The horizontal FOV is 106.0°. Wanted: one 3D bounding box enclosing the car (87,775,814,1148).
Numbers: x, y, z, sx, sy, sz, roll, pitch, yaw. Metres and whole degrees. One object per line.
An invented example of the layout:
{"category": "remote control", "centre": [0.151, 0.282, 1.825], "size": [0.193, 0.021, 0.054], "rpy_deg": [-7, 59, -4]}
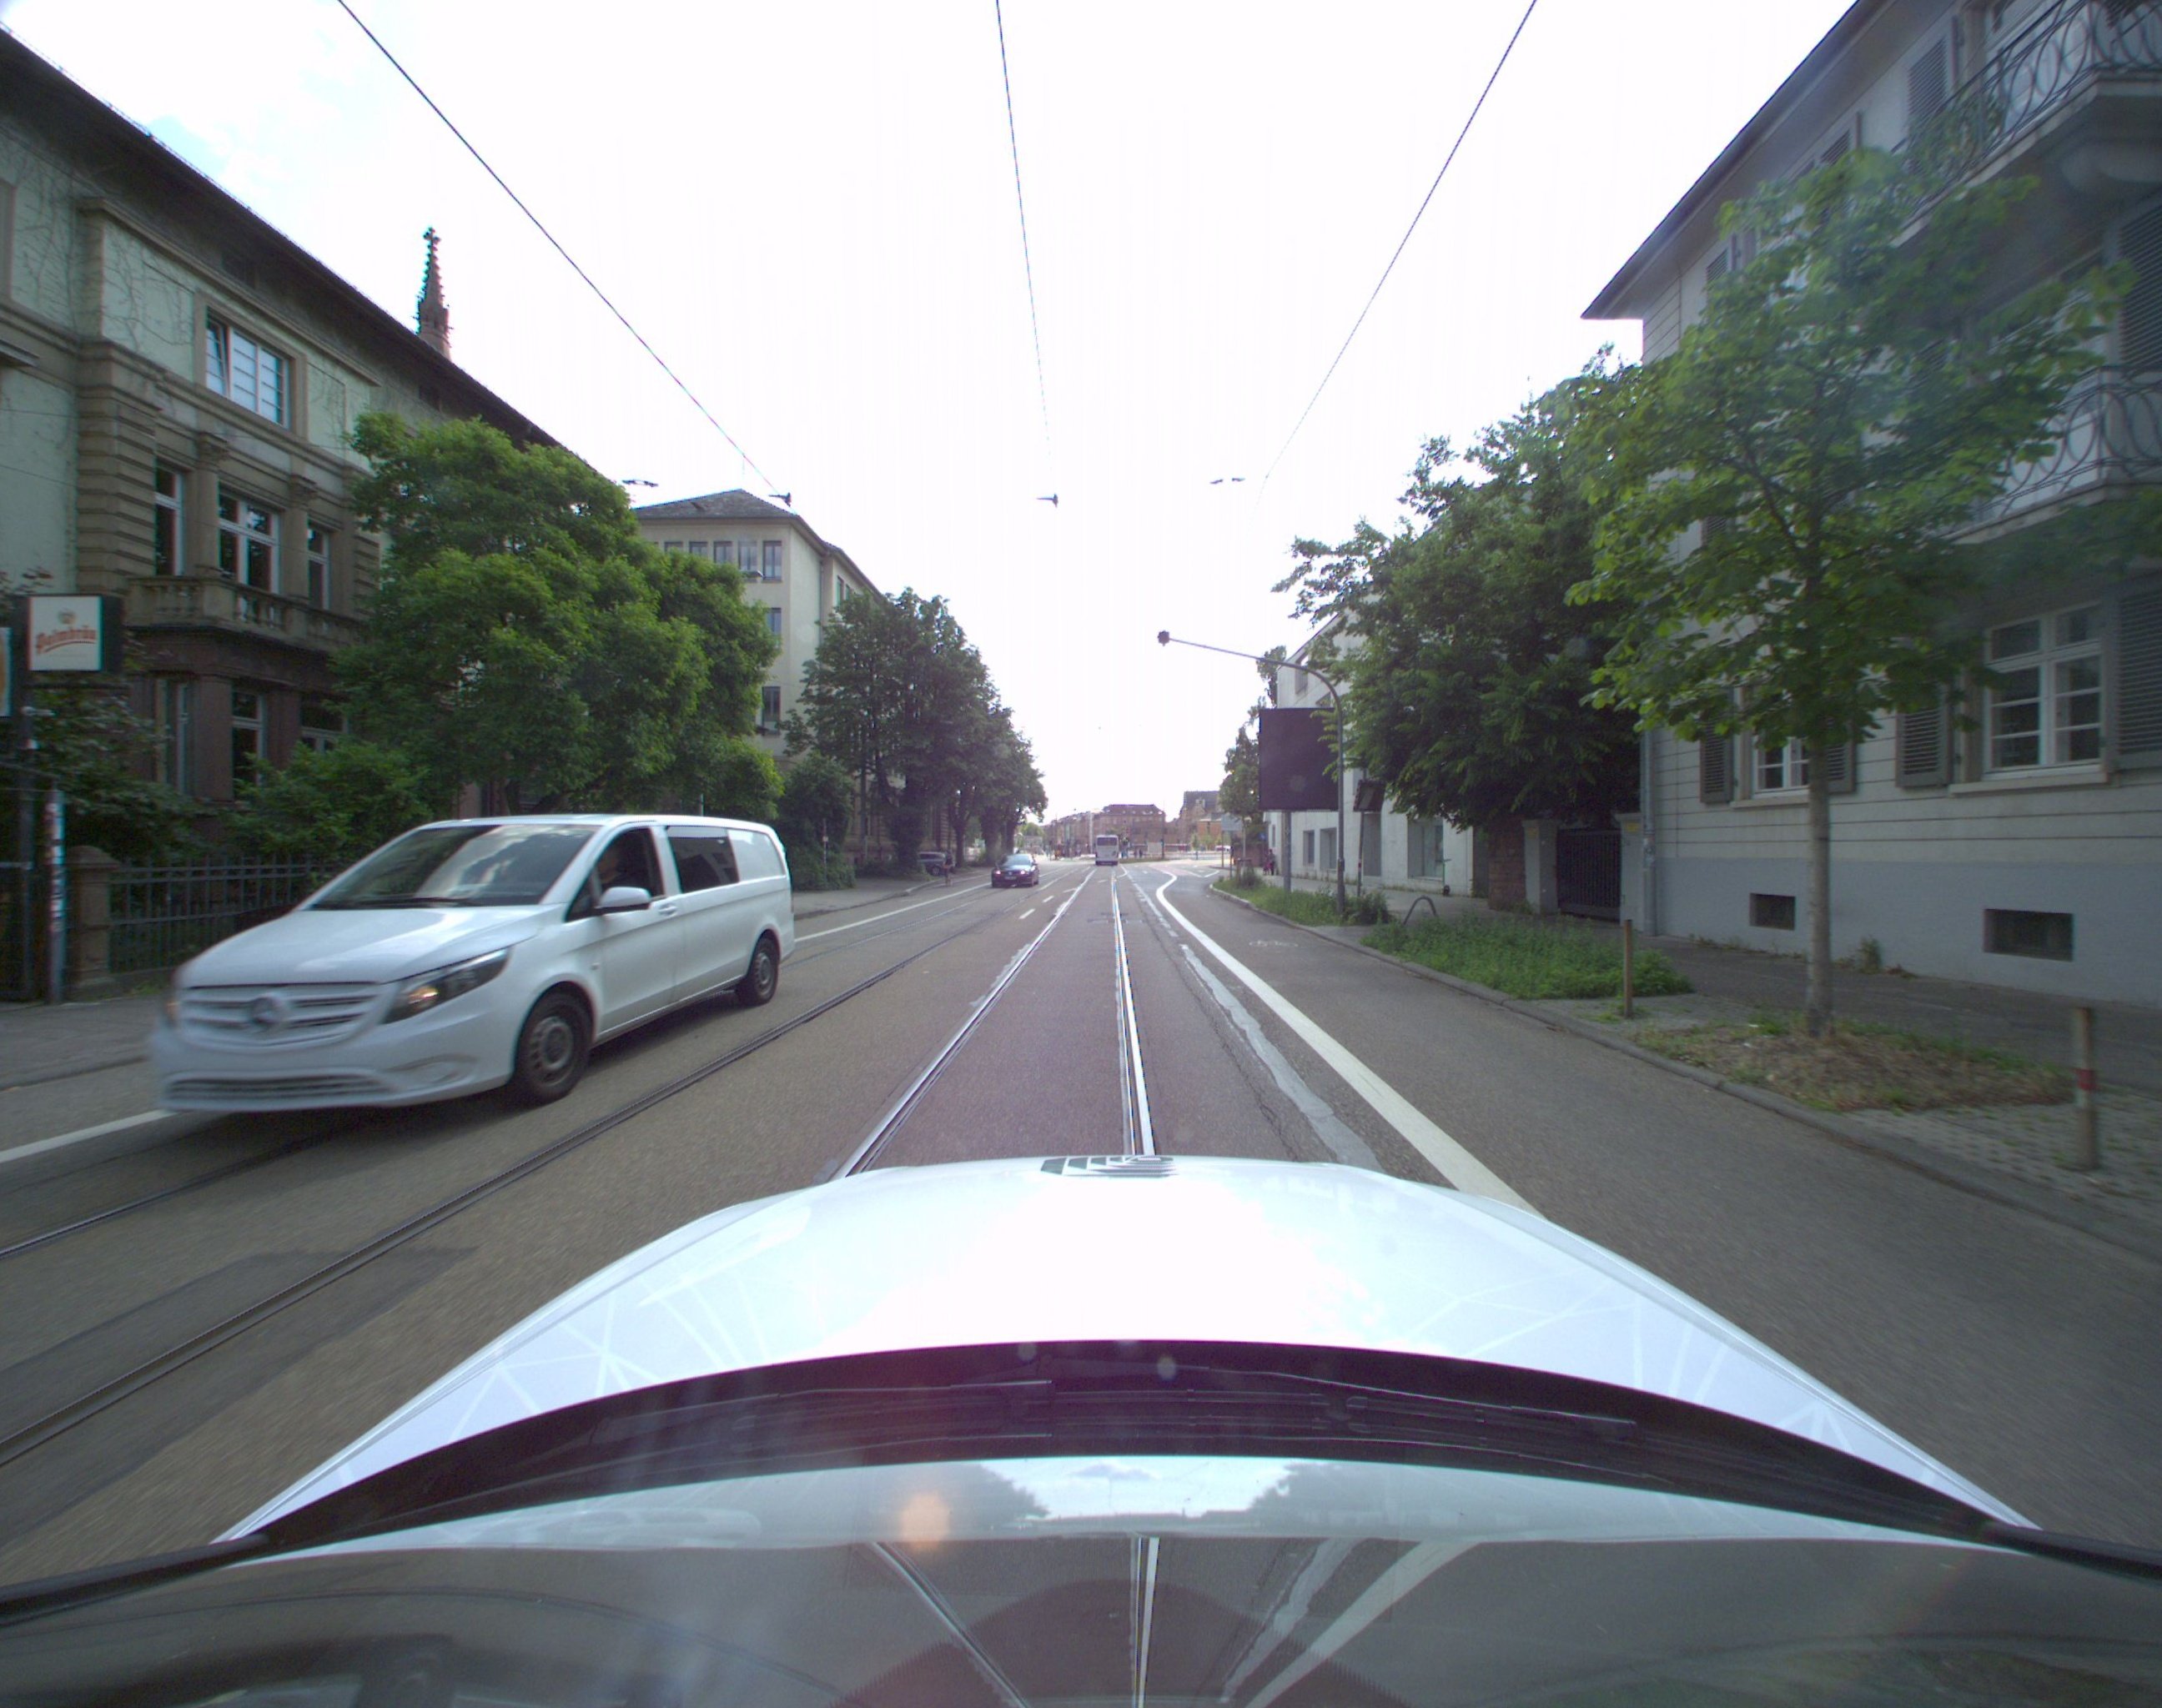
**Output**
{"category": "car", "centre": [-4.115, 0.536, 6.871], "size": [1.891, 1.907, 5.384], "rpy_deg": [0, 0, 1]}

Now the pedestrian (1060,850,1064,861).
{"category": "pedestrian", "centre": [-3.286, 0.300, 143.471], "size": [0.608, 1.885, 0.794], "rpy_deg": [0, 0, 2]}

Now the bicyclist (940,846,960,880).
{"category": "bicyclist", "centre": [-6.076, 0.420, 37.902], "size": [0.596, 1.492, 0.883], "rpy_deg": [-5, 0, 5]}

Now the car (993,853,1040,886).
{"category": "car", "centre": [-2.807, 0.648, 36.140], "size": [1.682, 1.402, 3.932], "rpy_deg": [-1, 0, 1]}

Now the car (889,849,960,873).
{"category": "car", "centre": [-10.425, 0.480, 54.288], "size": [4.253, 1.550, 1.909], "rpy_deg": [1, 0, -30]}

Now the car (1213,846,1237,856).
{"category": "car", "centre": [33.028, -0.715, 186.757], "size": [2.311, 2.319, 5.529], "rpy_deg": [0, 0, -34]}

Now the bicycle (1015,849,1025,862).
{"category": "bicycle", "centre": [-4.928, 0.133, 66.094], "size": [0.697, 1.017, 1.818], "rpy_deg": [-1, 0, -1]}

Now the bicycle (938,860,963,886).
{"category": "bicycle", "centre": [-6.036, 0.880, 37.851], "size": [0.600, 1.097, 2.025], "rpy_deg": [-5, 0, 5]}

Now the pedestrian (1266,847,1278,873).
{"category": "pedestrian", "centre": [12.701, 0.403, 54.221], "size": [0.681, 1.724, 0.749], "rpy_deg": [-1, 1, 8]}

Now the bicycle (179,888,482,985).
{"category": "bicycle", "centre": [-9.695, 1.003, 10.823], "size": [1.138, 0.908, 2.990], "rpy_deg": [3, 0, 2]}

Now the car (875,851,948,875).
{"category": "car", "centre": [-10.678, 0.540, 51.378], "size": [4.249, 1.447, 1.779], "rpy_deg": [0, 0, -26]}

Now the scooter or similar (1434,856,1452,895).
{"category": "scooter or similar", "centre": [11.188, 0.643, 25.159], "size": [0.320, 1.181, 1.152], "rpy_deg": [0, 0, 15]}

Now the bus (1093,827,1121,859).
{"category": "bus", "centre": [2.972, -1.145, 93.645], "size": [2.907, 3.328, 12.209], "rpy_deg": [1, 0, 1]}

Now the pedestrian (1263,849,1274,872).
{"category": "pedestrian", "centre": [12.874, 0.455, 55.878], "size": [0.519, 1.580, 0.547], "rpy_deg": [-2, 1, -8]}

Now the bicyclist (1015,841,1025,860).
{"category": "bicyclist", "centre": [-4.939, -0.317, 66.072], "size": [0.689, 1.519, 0.867], "rpy_deg": [-1, 0, -1]}

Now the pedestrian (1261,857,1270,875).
{"category": "pedestrian", "centre": [12.526, 0.817, 55.309], "size": [0.424, 1.200, 0.402], "rpy_deg": [-2, 1, -31]}
